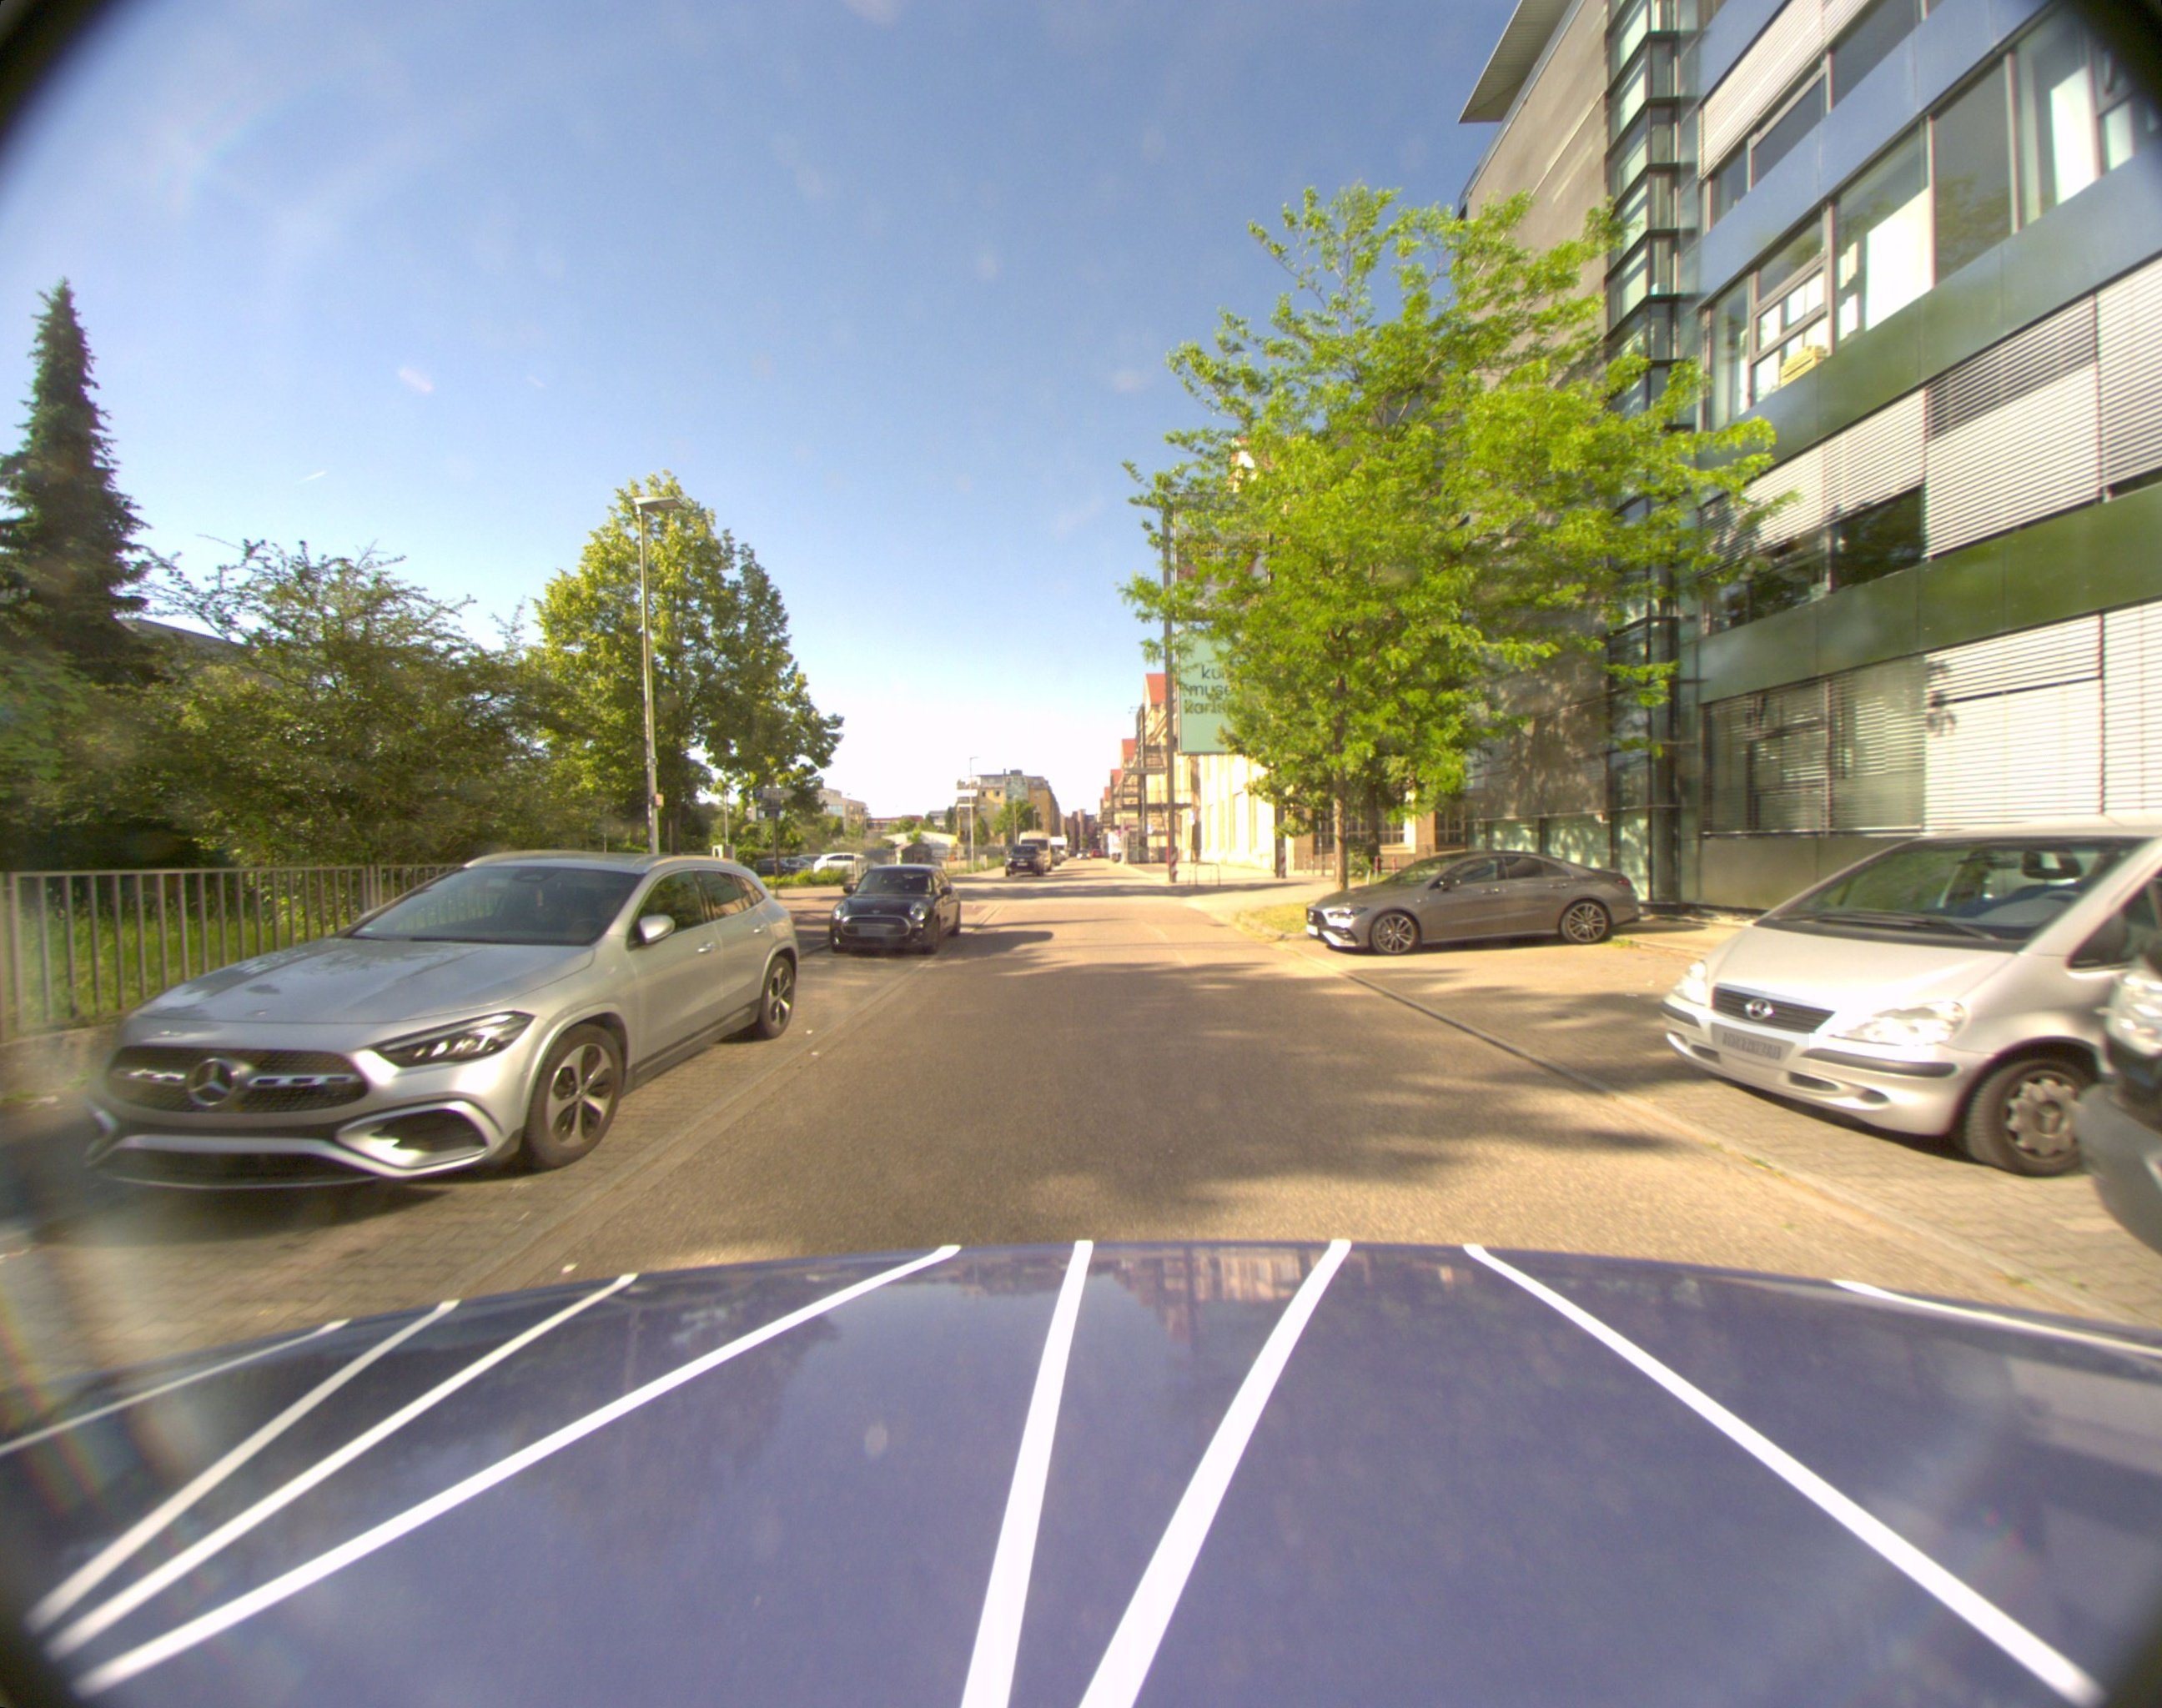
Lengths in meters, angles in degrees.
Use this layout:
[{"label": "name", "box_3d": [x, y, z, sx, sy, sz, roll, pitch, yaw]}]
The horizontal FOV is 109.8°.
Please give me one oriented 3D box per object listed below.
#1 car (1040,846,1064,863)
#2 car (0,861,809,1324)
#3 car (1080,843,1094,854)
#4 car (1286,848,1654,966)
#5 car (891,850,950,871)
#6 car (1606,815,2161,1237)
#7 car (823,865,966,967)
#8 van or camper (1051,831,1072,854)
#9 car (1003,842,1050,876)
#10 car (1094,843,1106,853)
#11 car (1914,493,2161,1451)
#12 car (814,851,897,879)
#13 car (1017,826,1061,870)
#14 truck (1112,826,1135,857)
[{"label": "car", "box_3d": [-2.538, 0.032, 66.917, 1.850, 1.417, 4.224, -2, 1, 1]}, {"label": "car", "box_3d": [-3.471, 0.916, 4.974, 1.830, 1.620, 4.292, 0, 1, 0]}, {"label": "car", "box_3d": [0.778, -0.752, 98.612, 1.850, 1.417, 4.224, -1, 1, 1]}, {"label": "car", "box_3d": [5.671, 0.734, 11.513, 4.546, 1.343, 1.892, -4, 1, 0]}, {"label": "car", "box_3d": [-12.975, 0.543, 61.633, 4.239, 1.551, 1.898, -1, 1, 3]}, {"label": "car", "box_3d": [5.497, 0.679, 4.197, 3.841, 1.636, 1.892, -4, 1, -1]}, {"label": "car", "box_3d": [-3.152, 0.982, 13.553, 1.656, 1.464, 3.763, 0, 1, -1]}, {"label": "van or camper", "box_3d": [-2.509, -1.505, 99.344, 2.722, 2.841, 5.132, -1, 1, -1]}, {"label": "car", "box_3d": [-2.825, 0.216, 40.023, 1.998, 1.686, 4.103, -1, 1, 2]}, {"label": "car", "box_3d": [3.080, -0.927, 120.190, 1.760, 1.440, 4.000, -1, 1, 2]}, {"label": "car", "box_3d": [5.657, 0.243, 1.550, 5.468, 2.608, 2.231, -2, 1, 0]}, {"label": "car", "box_3d": [-13.818, 0.663, 46.672, 4.422, 1.600, 2.000, -1, 1, 3]}, {"label": "car", "box_3d": [-2.611, -0.369, 48.786, 2.163, 2.582, 6.284, -2, 1, 2]}, {"label": "truck", "box_3d": [4.819, -1.442, 86.889, 2.498, 3.412, 7.127, -1, 1, 3]}]
